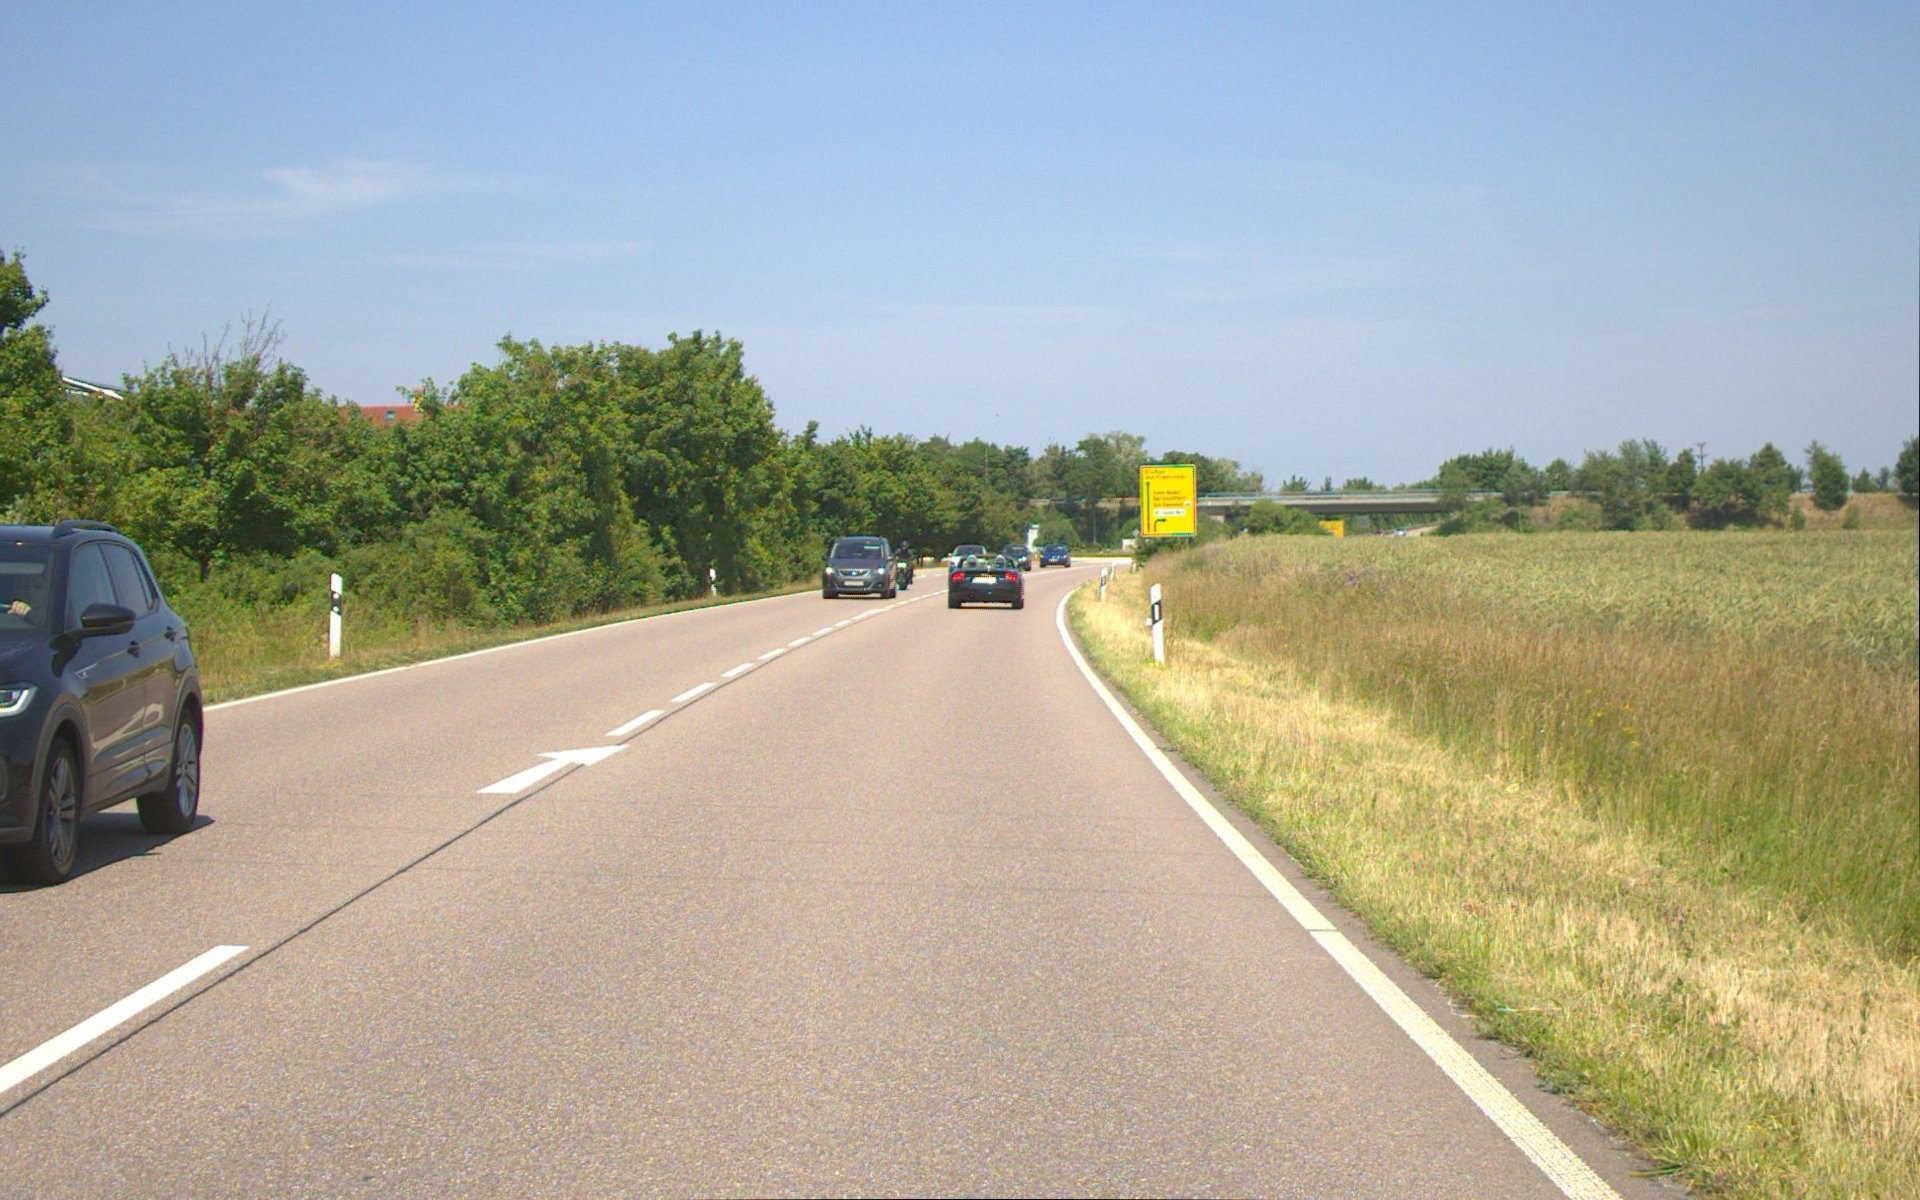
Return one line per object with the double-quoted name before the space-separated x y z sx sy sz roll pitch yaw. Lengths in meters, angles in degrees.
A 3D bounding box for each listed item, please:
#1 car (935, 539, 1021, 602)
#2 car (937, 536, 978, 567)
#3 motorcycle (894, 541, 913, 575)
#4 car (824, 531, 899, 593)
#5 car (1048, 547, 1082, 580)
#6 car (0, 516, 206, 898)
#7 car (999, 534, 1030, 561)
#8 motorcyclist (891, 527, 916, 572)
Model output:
"car" 0.453 -0.719 82.111 1.814 1.436 4.000 1 1 3
"car" -0.100 -2.159 152.789 1.707 1.377 3.819 1 1 2
"motorcycle" -1.867 -1.401 114.029 0.617 1.104 2.022 0 1 -1
"car" -2.706 -1.078 95.388 1.818 1.695 5.001 0 1 1
"car" 6.540 -2.276 214.165 1.994 2.007 4.000 1 1 3
"car" -4.716 0.397 15.875 1.699 1.561 3.671 0 1 -1
"car" 3.027 -2.909 190.754 1.597 1.437 4.000 0 1 2
"motorcyclist" -1.865 -1.689 113.919 0.835 1.469 1.818 0 1 -1
